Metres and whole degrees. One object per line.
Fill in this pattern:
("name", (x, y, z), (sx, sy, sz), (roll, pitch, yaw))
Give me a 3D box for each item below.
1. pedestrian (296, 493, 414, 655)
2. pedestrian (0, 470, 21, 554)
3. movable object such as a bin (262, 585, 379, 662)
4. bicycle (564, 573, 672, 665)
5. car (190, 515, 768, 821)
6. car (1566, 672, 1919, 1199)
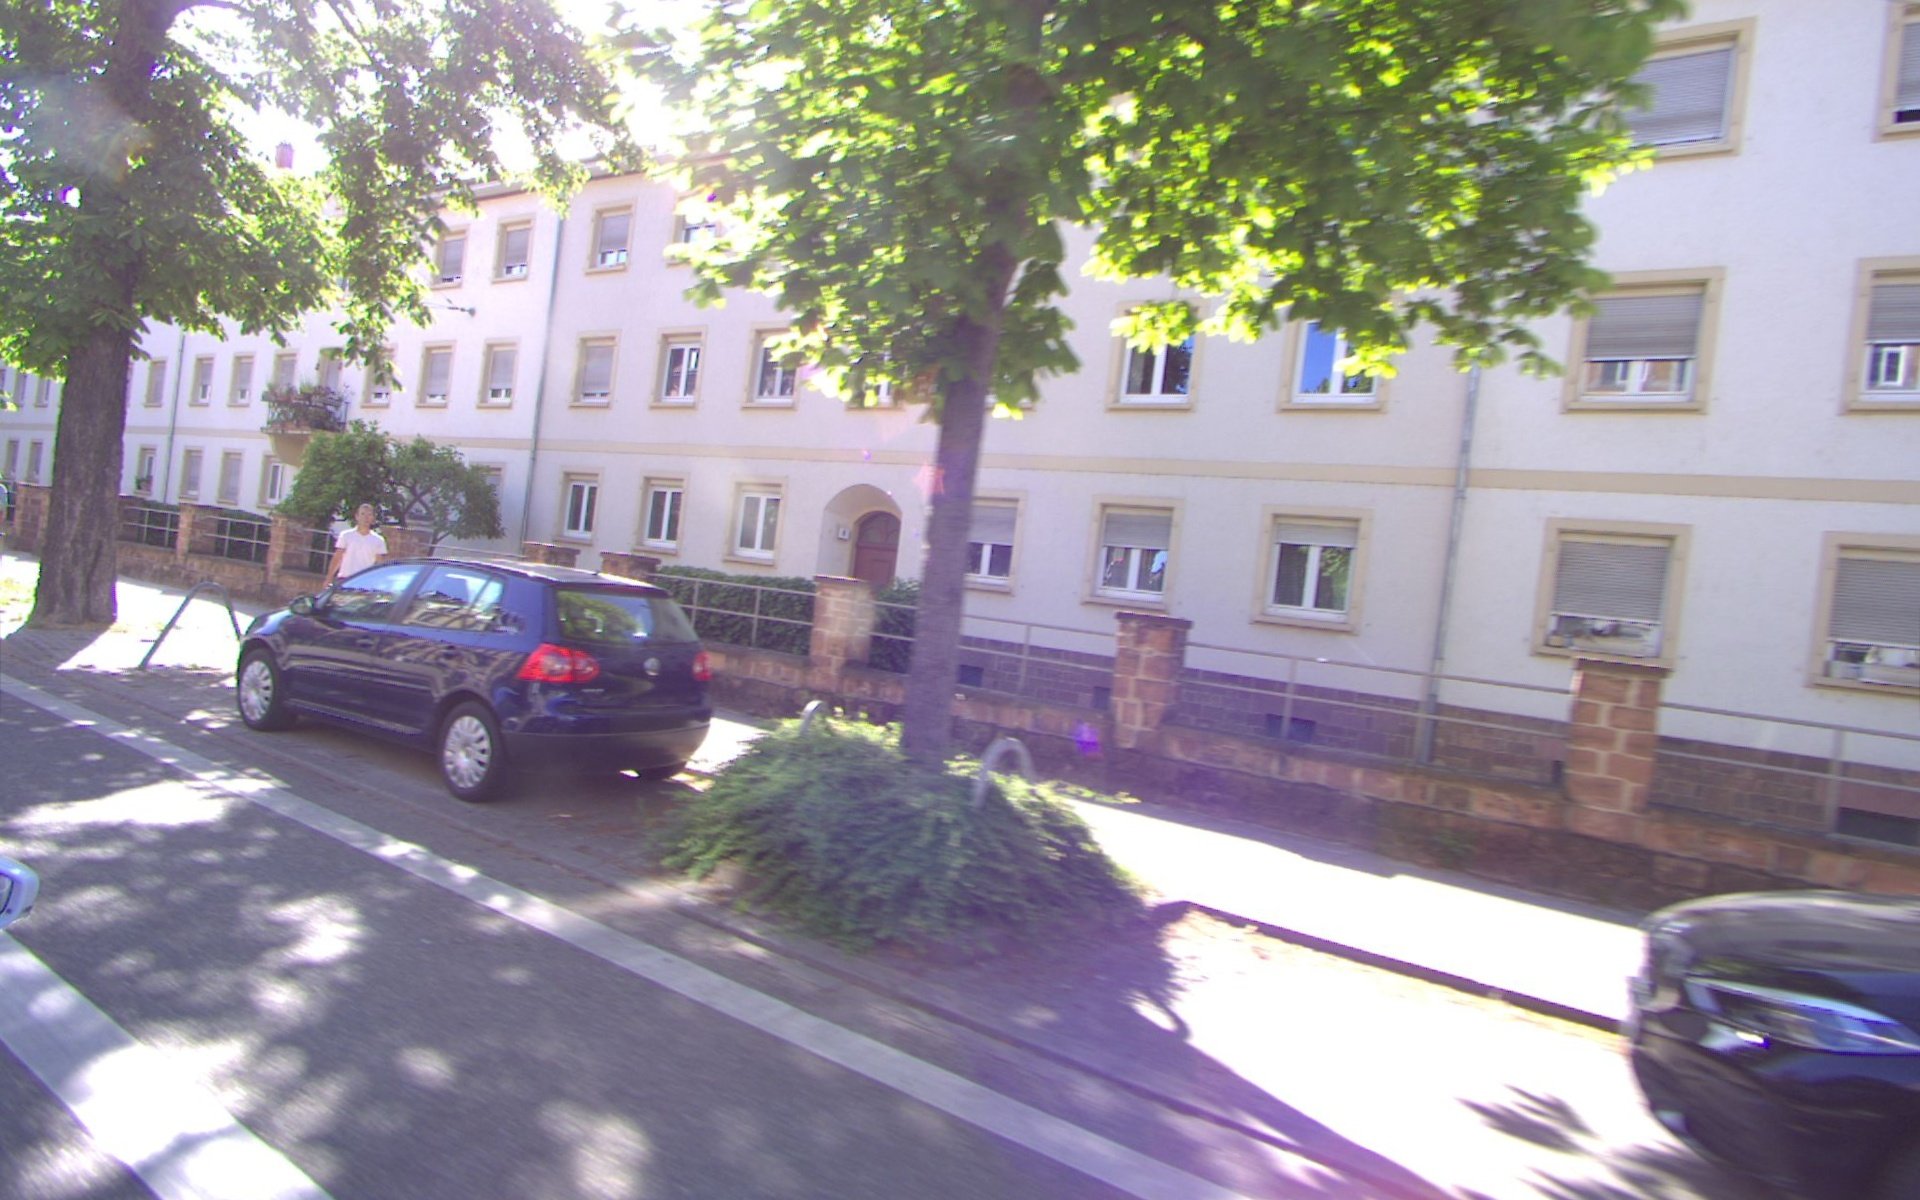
("pedestrian", (-7.178, -0.303, 11.969), (0.896, 1.794, 0.600), (6, 2, 1))
("pedestrian", (-20.689, -1.914, 21.374), (0.757, 1.744, 0.575), (9, -2, -30))
("movable object such as a bin", (-7.078, 0.240, 11.168), (0.655, 0.753, 0.923), (6, 2, 1))
("bicycle", (-5.429, 0.291, 15.923), (1.712, 1.235, 0.543), (7, 0, 31))
("car", (-3.670, 0.358, 7.489), (4.174, 1.492, 1.723), (7, 0, 30))
("car", (4.172, 1.388, 2.690), (4.160, 1.781, 1.669), (7, -1, 31))
